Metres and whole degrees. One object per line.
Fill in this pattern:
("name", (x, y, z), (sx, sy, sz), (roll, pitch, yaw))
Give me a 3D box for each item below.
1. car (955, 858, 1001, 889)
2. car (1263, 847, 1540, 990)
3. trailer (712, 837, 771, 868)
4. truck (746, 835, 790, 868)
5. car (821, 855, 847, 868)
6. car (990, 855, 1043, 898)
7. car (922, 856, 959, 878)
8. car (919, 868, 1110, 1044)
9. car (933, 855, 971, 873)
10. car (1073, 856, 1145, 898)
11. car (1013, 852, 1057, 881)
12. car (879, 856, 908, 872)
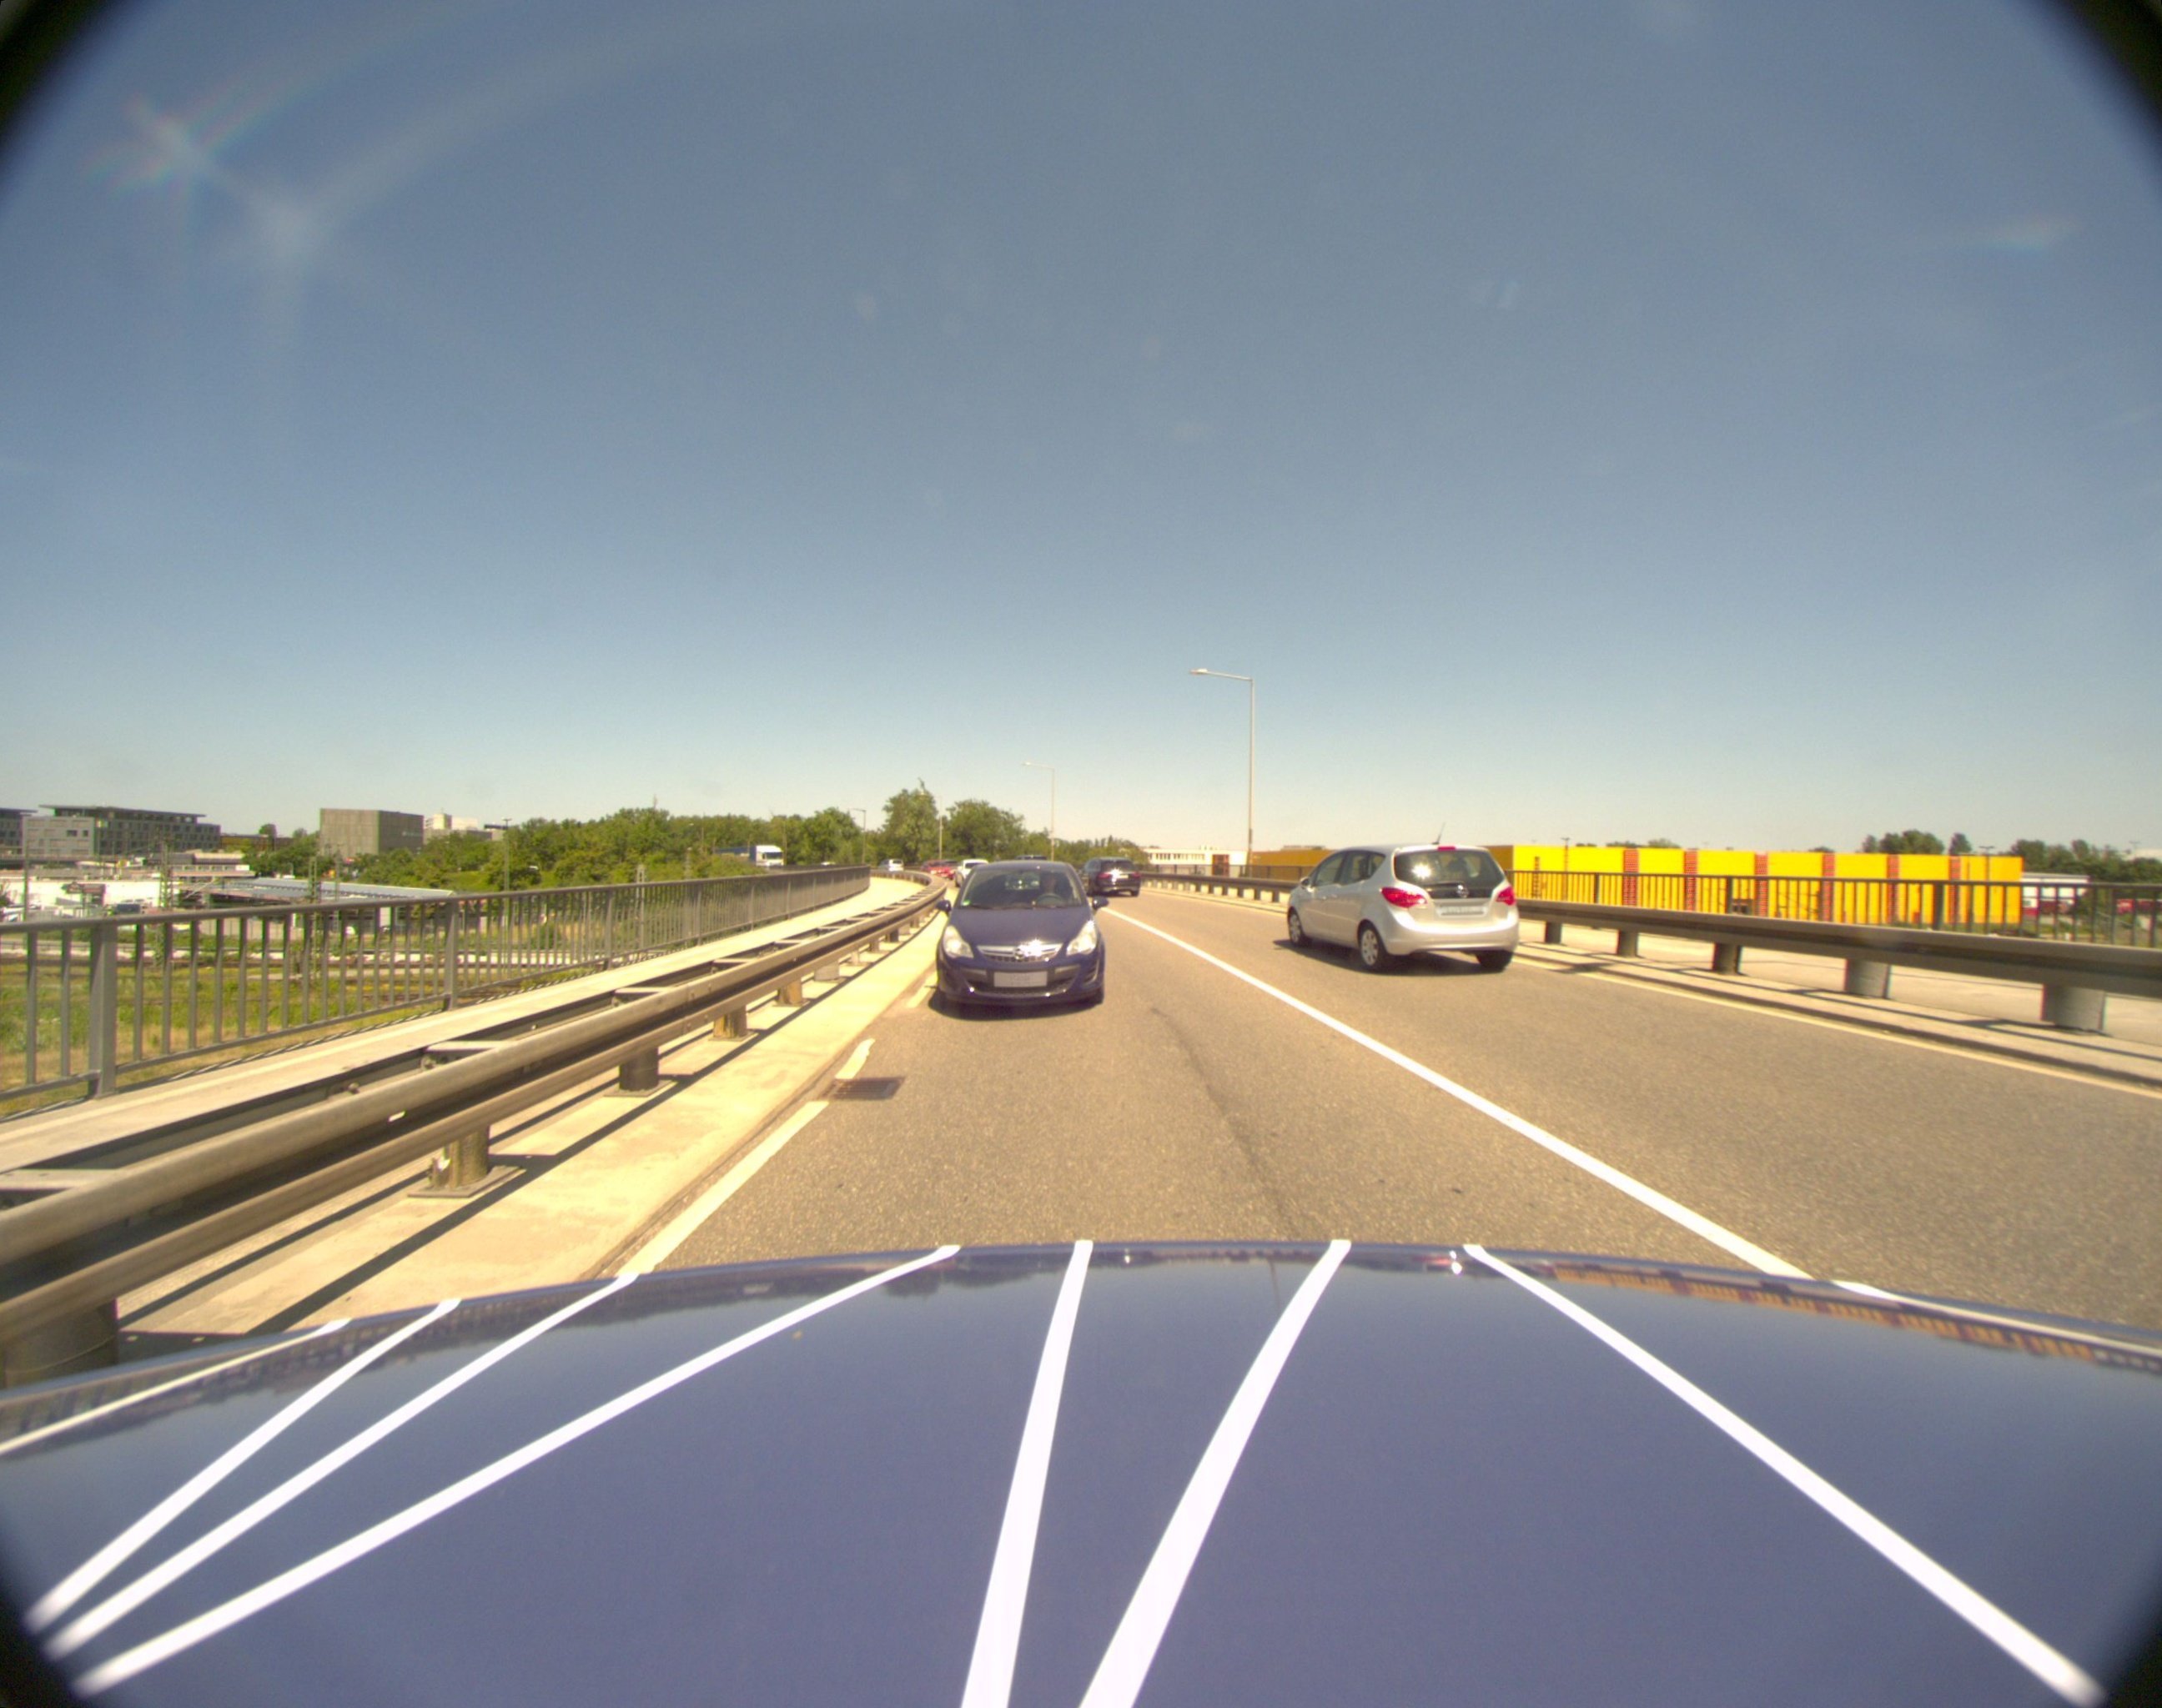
("car", (-5.442, 0.962, 39.605), (1.796, 1.446, 4.517), (-2, 0, -15))
("car", (4.150, 0.716, 10.672), (1.742, 1.570, 4.174), (-1, 0, -7))
("trailer", (-49.079, -0.196, 109.544), (12.677, 4.210, 2.707), (-1, 2, 42))
("truck", (-42.922, -0.306, 103.988), (6.820, 4.204, 2.702), (-1, 2, 42))
("car", (-31.169, 0.925, 95.755), (1.703, 1.598, 3.989), (0, 0, -41))
("car", (-2.462, 0.771, 28.428), (1.795, 1.446, 4.520), (-2, 0, -6))
("car", (-10.066, 0.903, 54.214), (1.797, 1.447, 4.515), (-1, 1, -21))
("car", (-0.616, 0.936, 8.732), (1.645, 1.431, 3.999), (-2, 0, -1))
("car", (-11.293, 0.840, 66.267), (1.784, 1.499, 4.183), (-1, 0, -32))
("car", (0.982, 0.810, 28.912), (1.778, 1.430, 4.387), (-1, 0, -11))
("car", (-2.814, 0.698, 45.504), (1.779, 1.616, 4.248), (-1, 0, -15))
("car", (-20.000, 1.055, 81.038), (1.702, 1.598, 3.990), (-1, 0, -34))
